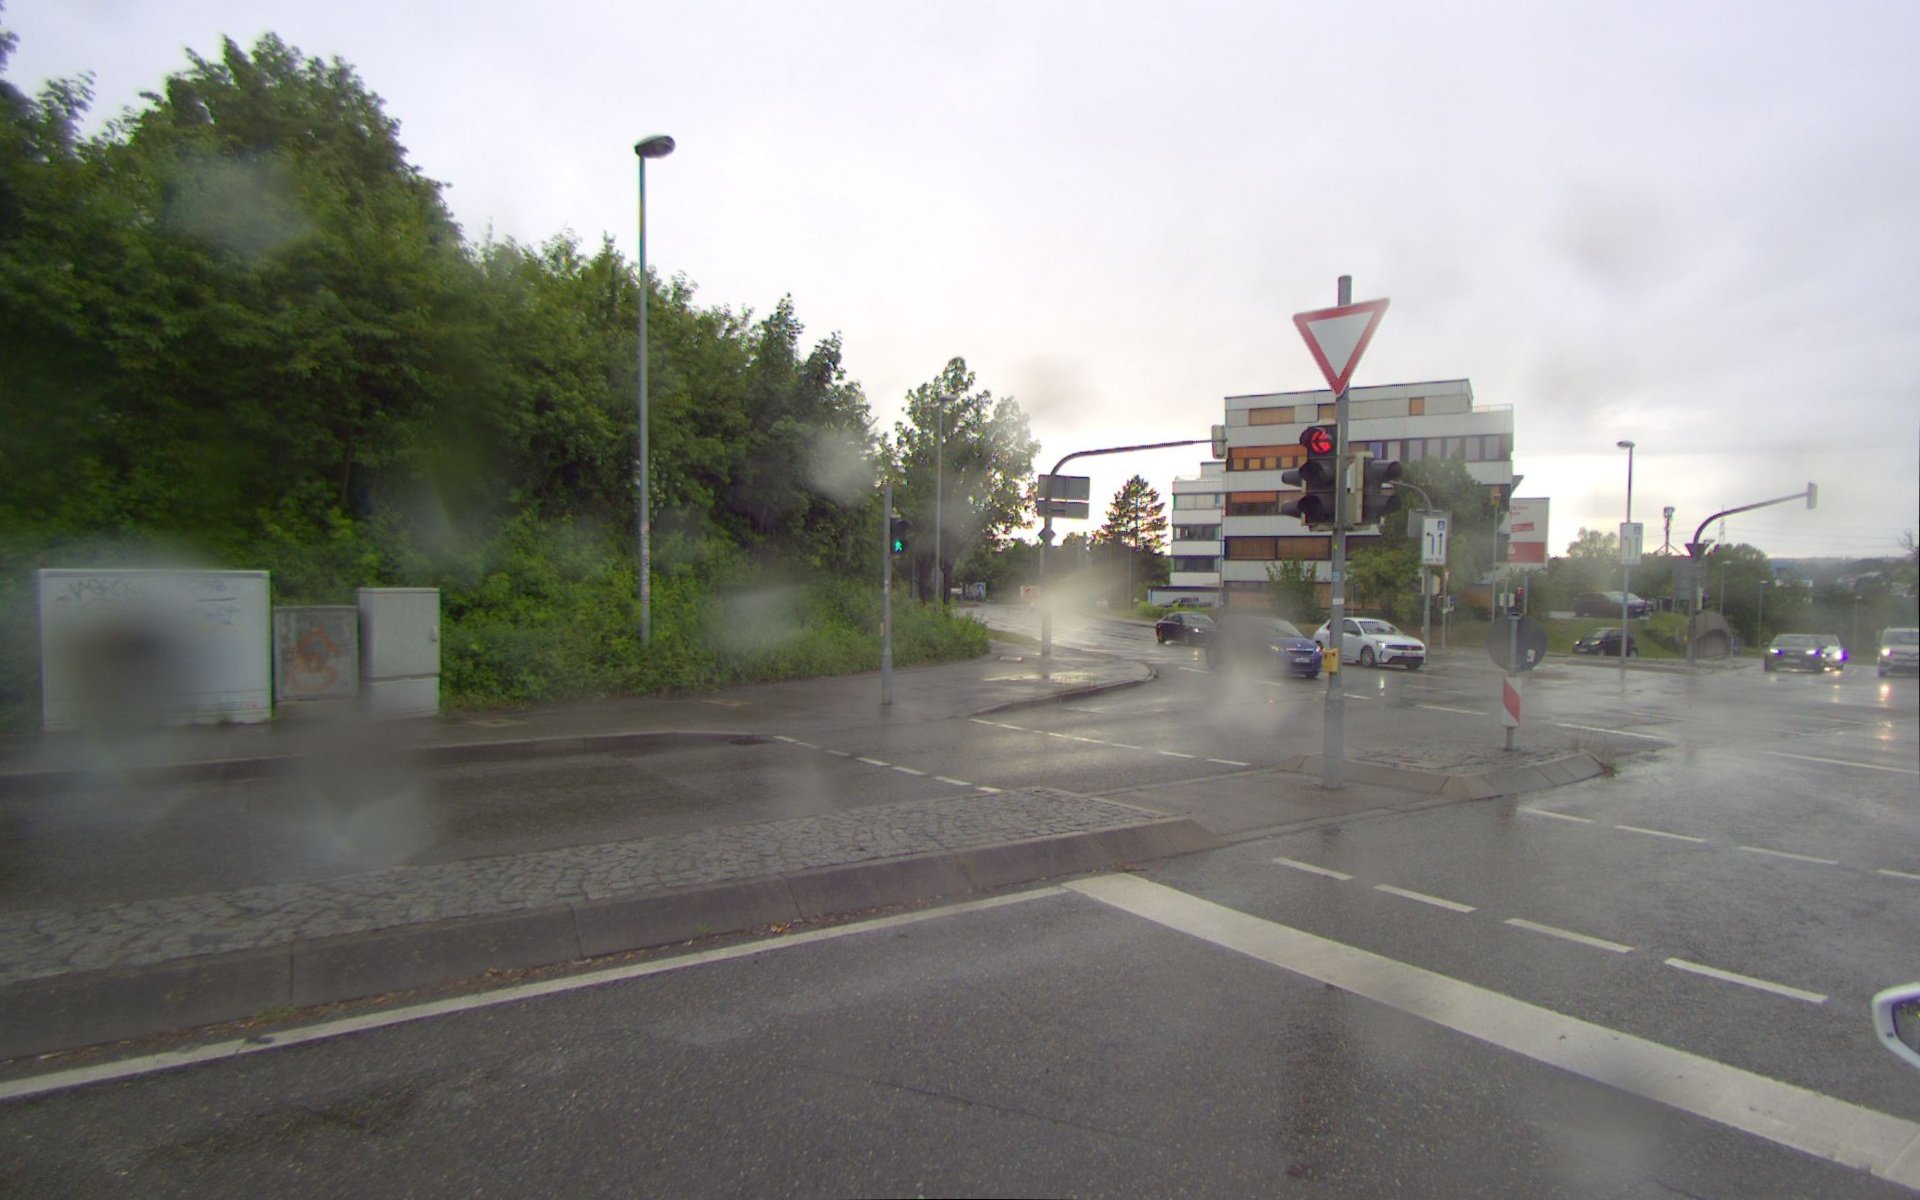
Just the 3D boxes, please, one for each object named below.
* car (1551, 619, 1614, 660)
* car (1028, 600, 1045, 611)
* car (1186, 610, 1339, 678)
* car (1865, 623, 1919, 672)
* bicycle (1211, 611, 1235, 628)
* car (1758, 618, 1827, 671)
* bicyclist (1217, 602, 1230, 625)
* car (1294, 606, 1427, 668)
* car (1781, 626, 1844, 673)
[{"bbox_3d":[31.638,1.967,51.010,1.972,1.920,3.977,2,1,43],"label":"car"},{"bbox_3d":[9.079,0.644,119.111,1.784,1.120,3.518,1,0,6],"label":"car"},{"bbox_3d":[7.661,1.062,25.835,1.816,1.534,3.984,1,0,-18],"label":"car"},{"bbox_3d":[34.808,1.708,36.904,3.972,1.639,1.974,1,1,-43],"label":"car"},{"bbox_3d":[17.073,1.247,65.229,0.600,1.066,1.772,1,1,-20],"label":"bicycle"},{"bbox_3d":[33.651,1.737,40.558,1.971,1.920,3.978,2,1,42],"label":"car"},{"bbox_3d":[17.095,0.873,65.175,0.594,1.465,0.542,1,1,-21],"label":"bicyclist"},{"bbox_3d":[12.450,1.115,31.496,1.965,1.706,3.990,1,1,-12],"label":"car"},{"bbox_3d":[38.803,2.189,45.672,1.972,1.920,3.977,2,1,43],"label":"car"}]
